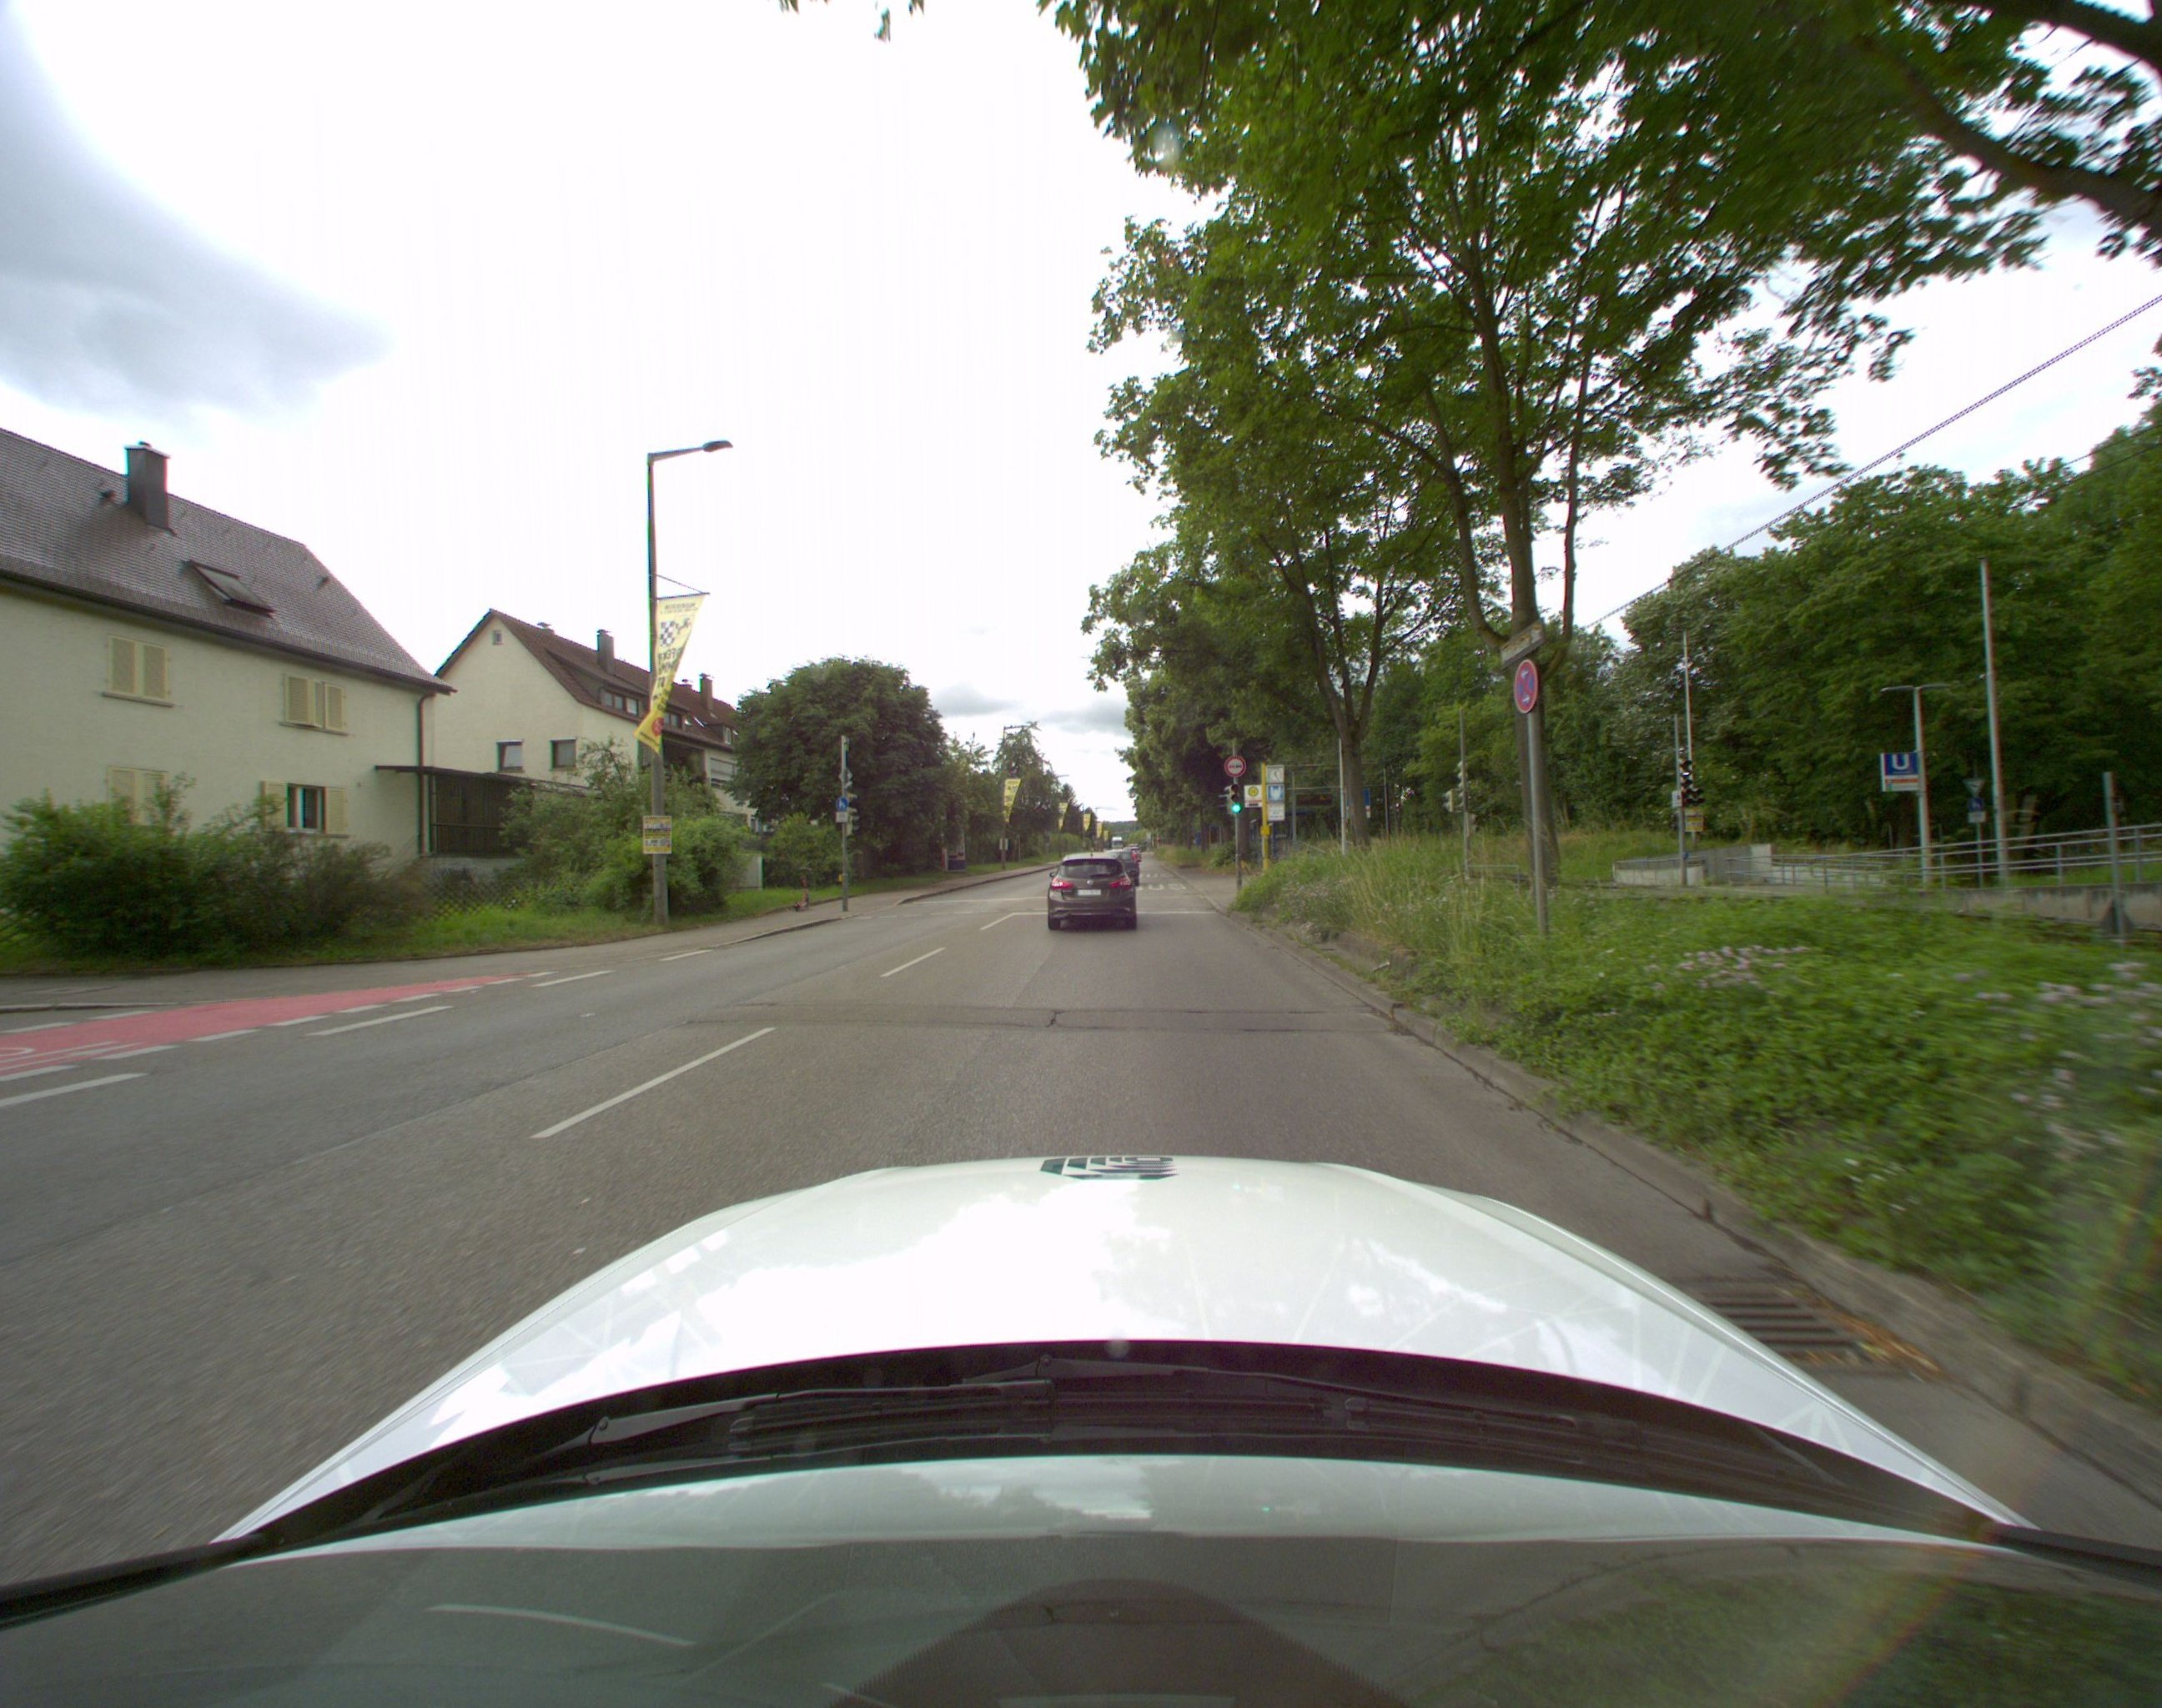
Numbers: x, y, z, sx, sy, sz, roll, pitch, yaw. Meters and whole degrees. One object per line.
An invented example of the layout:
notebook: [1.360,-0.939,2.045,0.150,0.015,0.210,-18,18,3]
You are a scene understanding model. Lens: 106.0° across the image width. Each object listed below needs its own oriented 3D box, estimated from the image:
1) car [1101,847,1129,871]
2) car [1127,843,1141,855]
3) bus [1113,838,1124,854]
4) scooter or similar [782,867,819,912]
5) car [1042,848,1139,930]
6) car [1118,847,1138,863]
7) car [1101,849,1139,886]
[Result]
car: [2.239,0.327,52.386,1.684,1.441,3.545,-1,0,4]
car: [6.777,-0.650,103.511,1.684,1.441,3.545,-1,0,4]
bus: [9.457,-2.021,206.512,2.476,4.025,10.228,-2,0,4]
scooter or similar: [-8.310,1.036,24.141,0.460,1.259,1.428,-1,0,5]
car: [0.313,0.676,17.287,1.775,1.507,3.700,-2,0,4]
car: [4.267,0.090,73.574,1.684,1.441,3.545,-1,0,4]
car: [1.672,0.551,34.039,1.495,1.441,3.545,-1,0,4]
